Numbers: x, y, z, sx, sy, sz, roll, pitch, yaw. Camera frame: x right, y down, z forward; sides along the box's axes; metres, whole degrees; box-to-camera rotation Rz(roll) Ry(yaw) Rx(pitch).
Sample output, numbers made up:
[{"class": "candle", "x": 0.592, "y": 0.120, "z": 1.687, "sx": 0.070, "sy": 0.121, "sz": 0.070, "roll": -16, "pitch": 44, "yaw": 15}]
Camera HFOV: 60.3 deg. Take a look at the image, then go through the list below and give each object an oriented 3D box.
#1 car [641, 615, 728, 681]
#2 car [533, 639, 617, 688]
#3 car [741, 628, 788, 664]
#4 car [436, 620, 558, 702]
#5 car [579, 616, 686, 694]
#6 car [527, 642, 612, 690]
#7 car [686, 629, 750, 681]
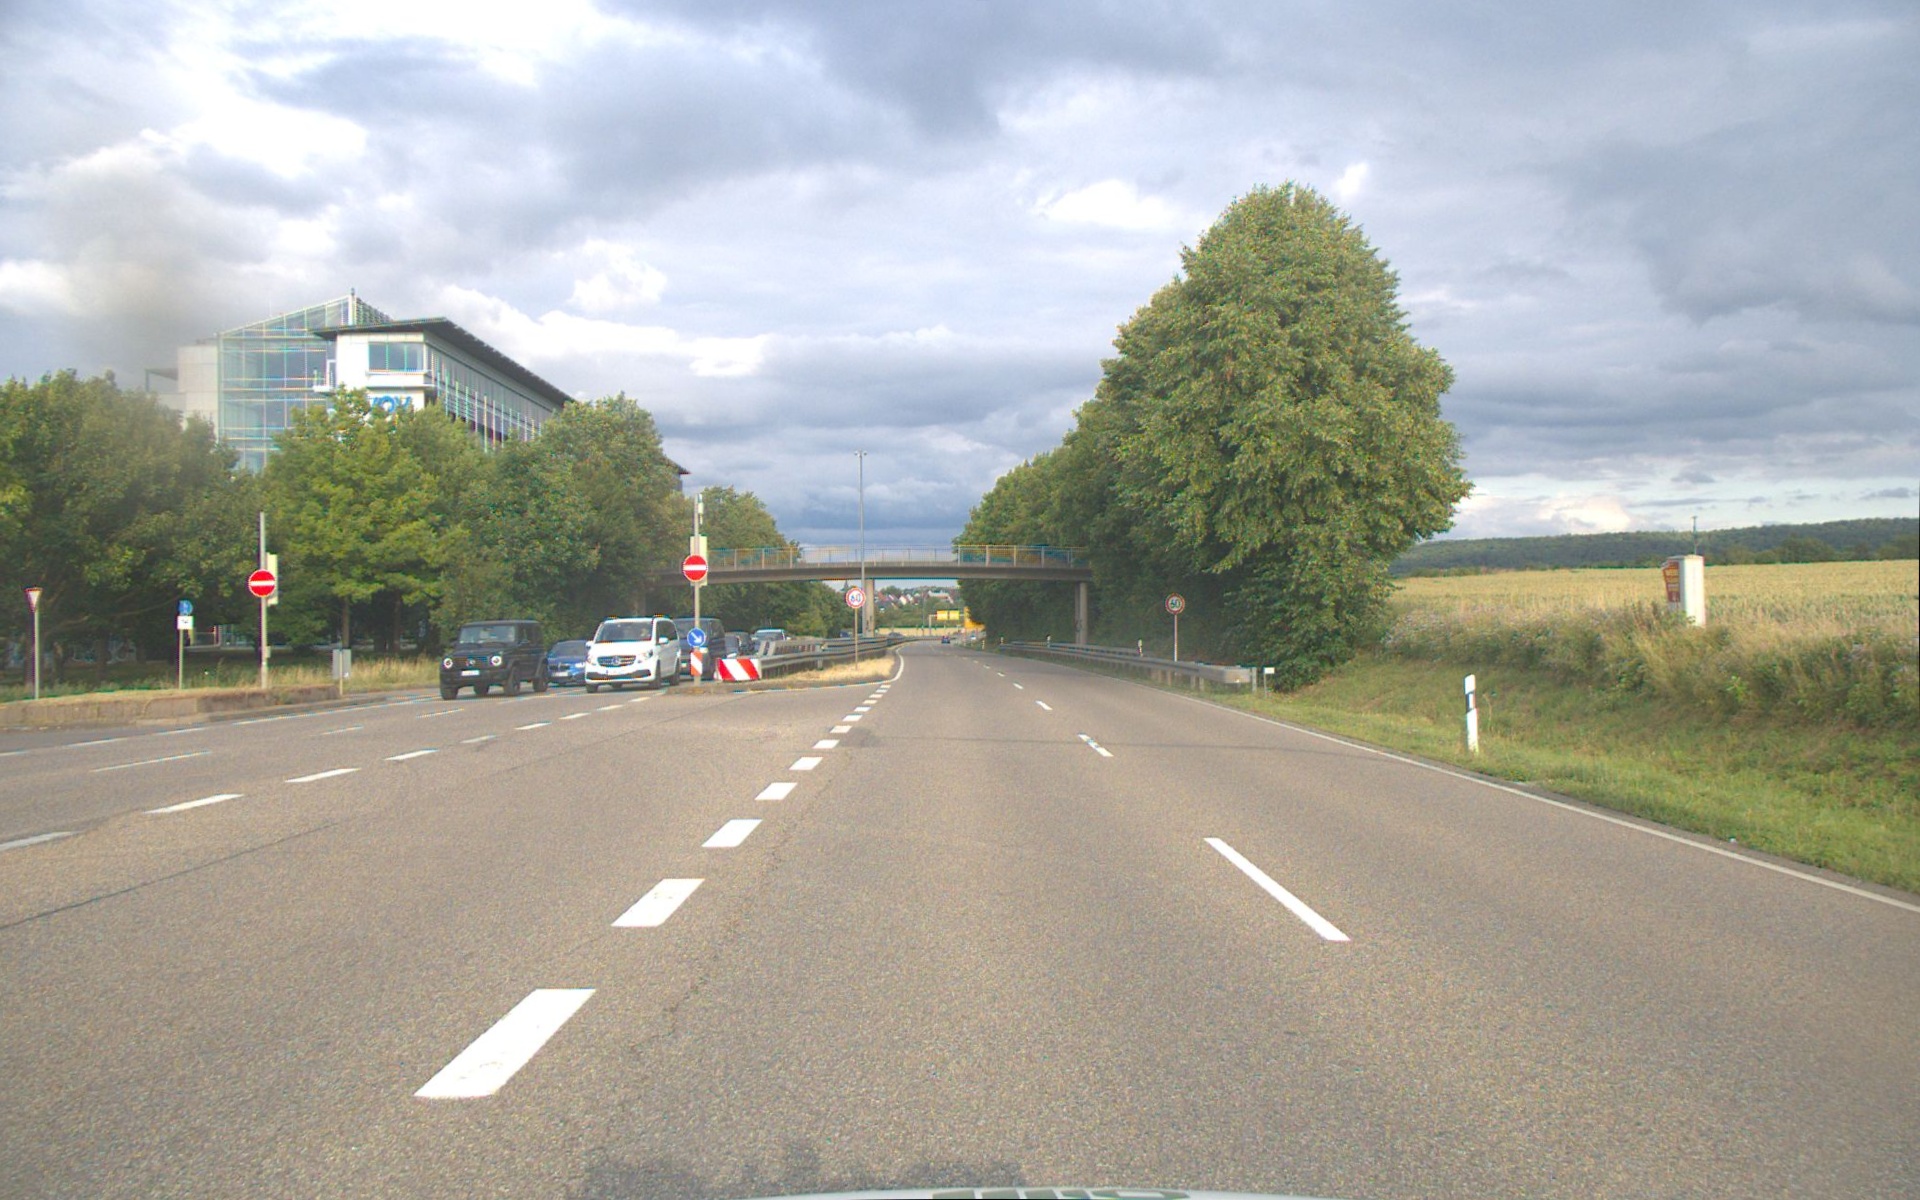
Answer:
[{"class": "car", "x": -8.642, "y": 1.498, "z": 52.206, "sx": 1.859, "sy": 1.950, "sz": 5.050, "roll": -1, "pitch": -1, "yaw": 0}, {"class": "car", "x": -11.920, "y": 1.937, "z": 51.485, "sx": 1.614, "sy": 1.412, "sz": 4.185, "roll": -1, "pitch": -1, "yaw": 0}, {"class": "car", "x": -9.514, "y": 2.218, "z": 80.865, "sx": 1.786, "sy": 1.612, "sz": 4.788, "roll": -2, "pitch": -1, "yaw": -2}, {"class": "car", "x": -12.364, "y": 1.605, "z": 44.474, "sx": 1.895, "sy": 2.025, "sz": 5.089, "roll": -2, "pitch": -1, "yaw": -1}, {"class": "car", "x": -8.783, "y": 1.453, "z": 44.793, "sx": 1.895, "sy": 1.905, "sz": 5.345, "roll": -2, "pitch": -1, "yaw": -1}, {"class": "car", "x": -12.086, "y": 2.024, "z": 51.351, "sx": 1.687, "sy": 1.262, "sz": 3.999, "roll": -4, "pitch": -1, "yaw": -1}, {"class": "car", "x": -8.743, "y": 1.958, "z": 60.073, "sx": 1.678, "sy": 1.616, "sz": 4.552, "roll": -4, "pitch": 0, "yaw": -2}]
